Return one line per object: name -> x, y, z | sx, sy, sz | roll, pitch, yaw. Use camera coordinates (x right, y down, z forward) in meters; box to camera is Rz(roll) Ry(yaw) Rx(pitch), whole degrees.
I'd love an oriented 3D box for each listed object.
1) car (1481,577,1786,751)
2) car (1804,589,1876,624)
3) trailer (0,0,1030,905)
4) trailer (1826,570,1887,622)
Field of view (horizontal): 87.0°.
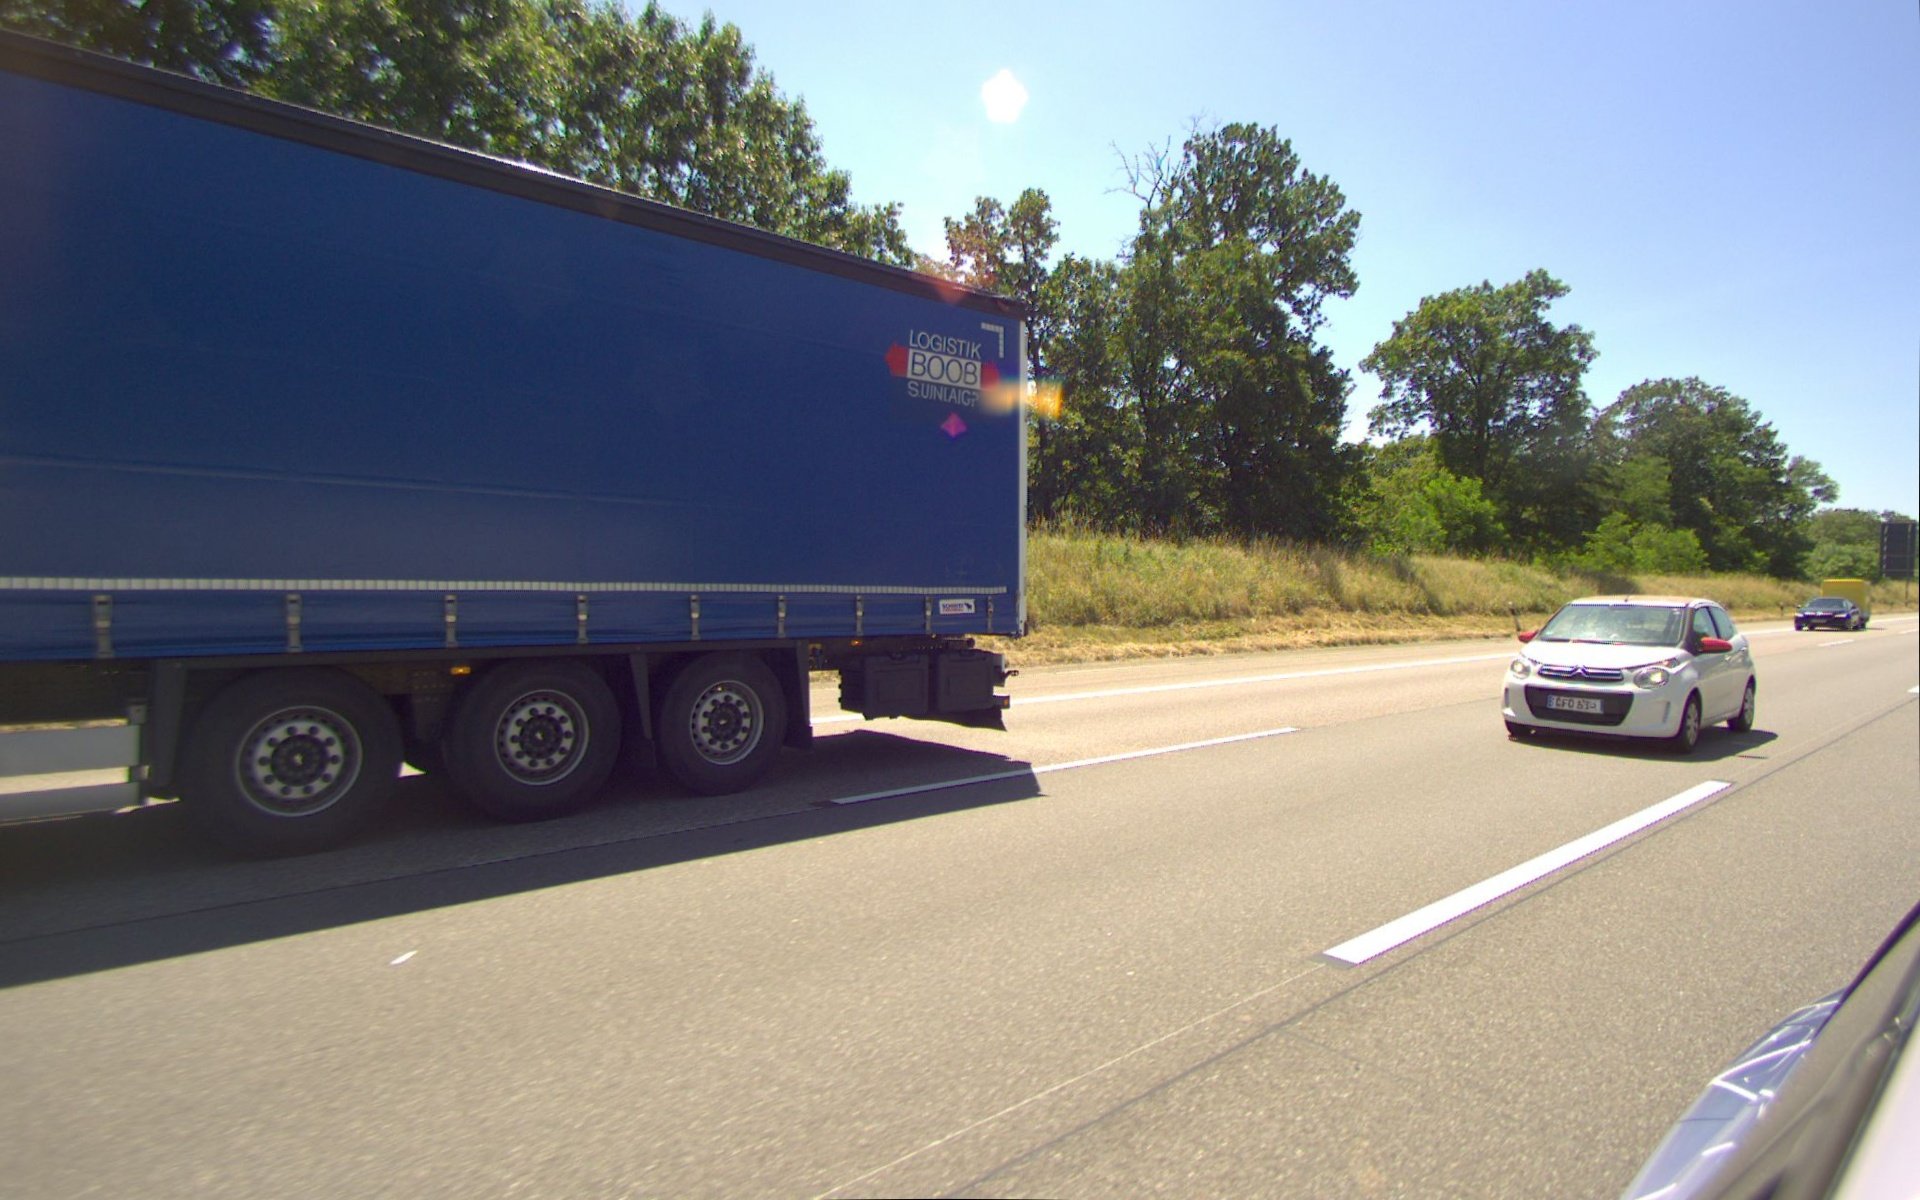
car -> 7.269, 0.545, 10.782 | 3.953, 1.514, 1.711 | 0, 0, -41
car -> 38.659, 0.250, 44.423 | 4.706, 1.474, 1.824 | 0, 0, -42
trailer -> -5.473, -0.774, 5.698 | 13.329, 4.272, 3.291 | -1, 0, -41
trailer -> 41.851, -0.205, 47.219 | 3.773, 2.318, 1.705 | 0, 0, -42
